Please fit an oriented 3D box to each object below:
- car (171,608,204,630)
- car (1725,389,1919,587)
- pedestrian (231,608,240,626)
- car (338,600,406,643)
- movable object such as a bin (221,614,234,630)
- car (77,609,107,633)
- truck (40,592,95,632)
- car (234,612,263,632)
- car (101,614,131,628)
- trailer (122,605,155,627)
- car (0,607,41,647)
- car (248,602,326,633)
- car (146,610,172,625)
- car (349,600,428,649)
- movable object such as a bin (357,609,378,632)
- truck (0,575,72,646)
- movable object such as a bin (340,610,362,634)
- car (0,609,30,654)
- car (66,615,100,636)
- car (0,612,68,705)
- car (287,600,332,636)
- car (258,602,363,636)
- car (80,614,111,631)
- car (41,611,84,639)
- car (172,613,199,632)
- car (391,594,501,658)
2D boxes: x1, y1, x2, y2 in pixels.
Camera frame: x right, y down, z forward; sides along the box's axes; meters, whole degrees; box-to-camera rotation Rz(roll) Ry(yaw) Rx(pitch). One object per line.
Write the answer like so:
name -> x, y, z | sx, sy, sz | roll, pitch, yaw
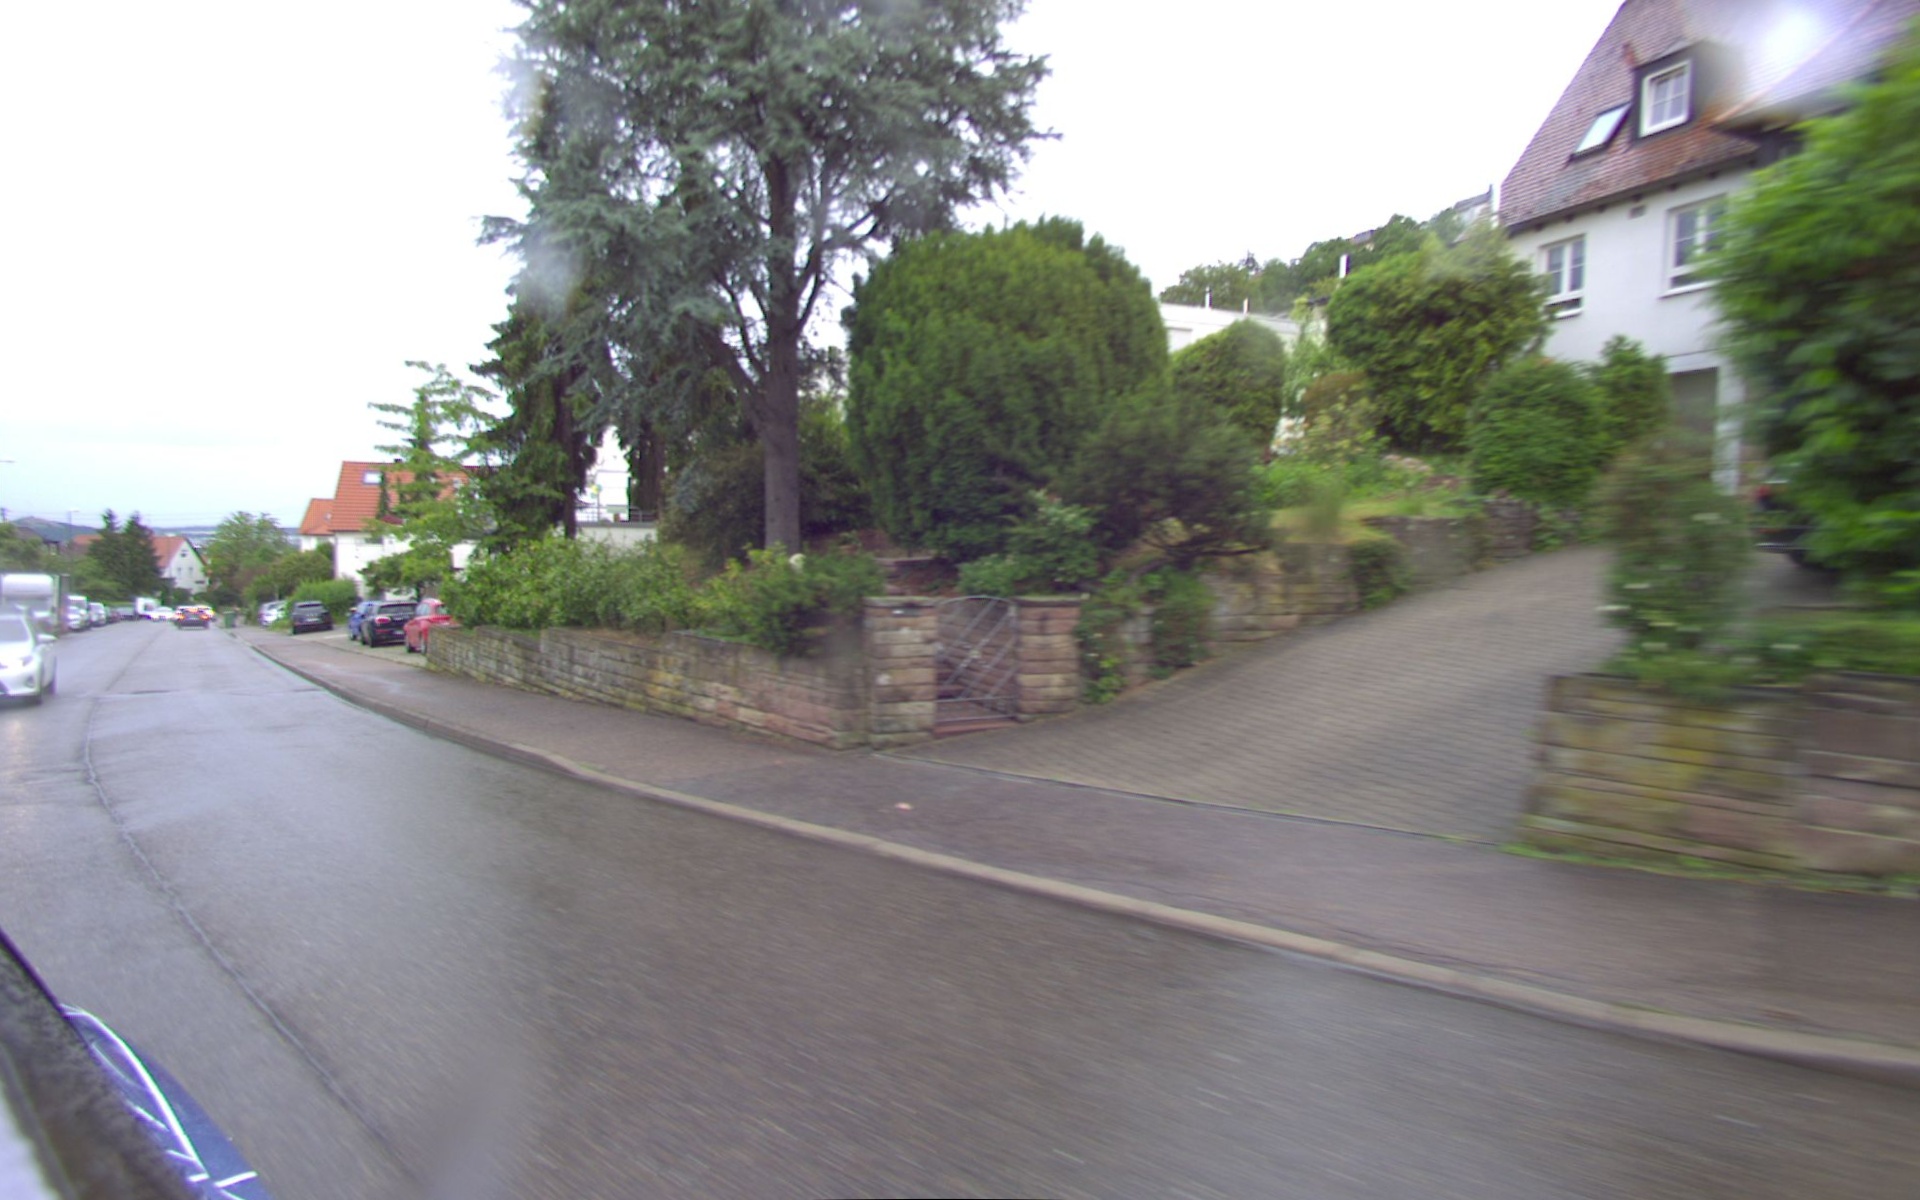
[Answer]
car -> -54.954, 1.326, 71.987 | 1.751, 1.448, 4.370 | 3, -3, -38
car -> 9.207, -1.198, 9.216 | 3.734, 1.534, 1.737 | -11, 4, -20
pedestrian -> -68.833, 1.590, 96.104 | 0.707, 1.647, 0.709 | 0, -1, -36
car -> -22.456, 0.800, 38.604 | 1.587, 1.445, 3.966 | -5, 2, -38
movable object such as a bin -> -50.587, 1.539, 69.898 | 0.595, 1.072, 0.699 | -2, 0, -42
car -> -72.814, 1.722, 84.959 | 1.825, 1.896, 4.919 | 1, -1, -40
truck -> -61.183, 0.791, 69.464 | 2.209, 2.651, 6.553 | 1, -1, -37
car -> -59.248, 1.781, 84.249 | 1.780, 1.609, 4.427 | 1, -1, -38
car -> -88.915, 2.213, 106.656 | 1.768, 1.470, 4.802 | 1, -1, -32
trailer -> -94.365, 1.802, 116.339 | 1.921, 2.475, 5.452 | 1, -1, -28
car -> -42.723, 1.185, 45.330 | 1.822, 1.696, 5.650 | 1, -1, -38
car -> -44.951, 1.151, 67.699 | 3.998, 1.704, 1.900 | -5, 2, -24
car -> -83.792, 1.825, 105.896 | 1.791, 1.518, 4.737 | 1, -1, -34
car -> -18.966, 0.790, 33.497 | 1.612, 1.406, 4.248 | -5, 3, -37
movable object such as a bin -> -30.269, 1.059, 51.702 | 0.714, 1.078, 0.769 | -5, 3, -20
truck -> -47.470, 0.525, 51.855 | 2.404, 3.360, 7.981 | 1, -1, -38
movable object such as a bin -> -30.972, 1.115, 51.505 | 0.714, 1.078, 0.852 | -5, 3, -20
car -> -37.435, 1.176, 38.916 | 1.911, 1.684, 4.705 | 1, -1, -36
car -> -68.126, 1.949, 78.642 | 1.626, 1.575, 3.972 | 1, -1, -36
car -> -16.222, 0.933, 16.804 | 1.834, 1.388, 4.189 | -2, 1, -38
car -> -34.089, 0.945, 52.995 | 1.667, 1.599, 4.207 | -8, 4, -34
car -> -39.409, 1.136, 61.546 | 5.013, 1.959, 2.148 | 0, -1, -21
car -> -79.288, 2.018, 92.833 | 1.792, 1.518, 4.735 | 1, -1, -37
car -> -56.403, 1.545, 63.645 | 1.737, 1.616, 4.676 | 1, -1, -38
car -> -66.472, 1.913, 86.835 | 1.775, 1.579, 4.393 | 1, -1, -38
car -> -14.006, 0.662, 27.454 | 1.752, 1.447, 4.598 | -6, 3, -37
